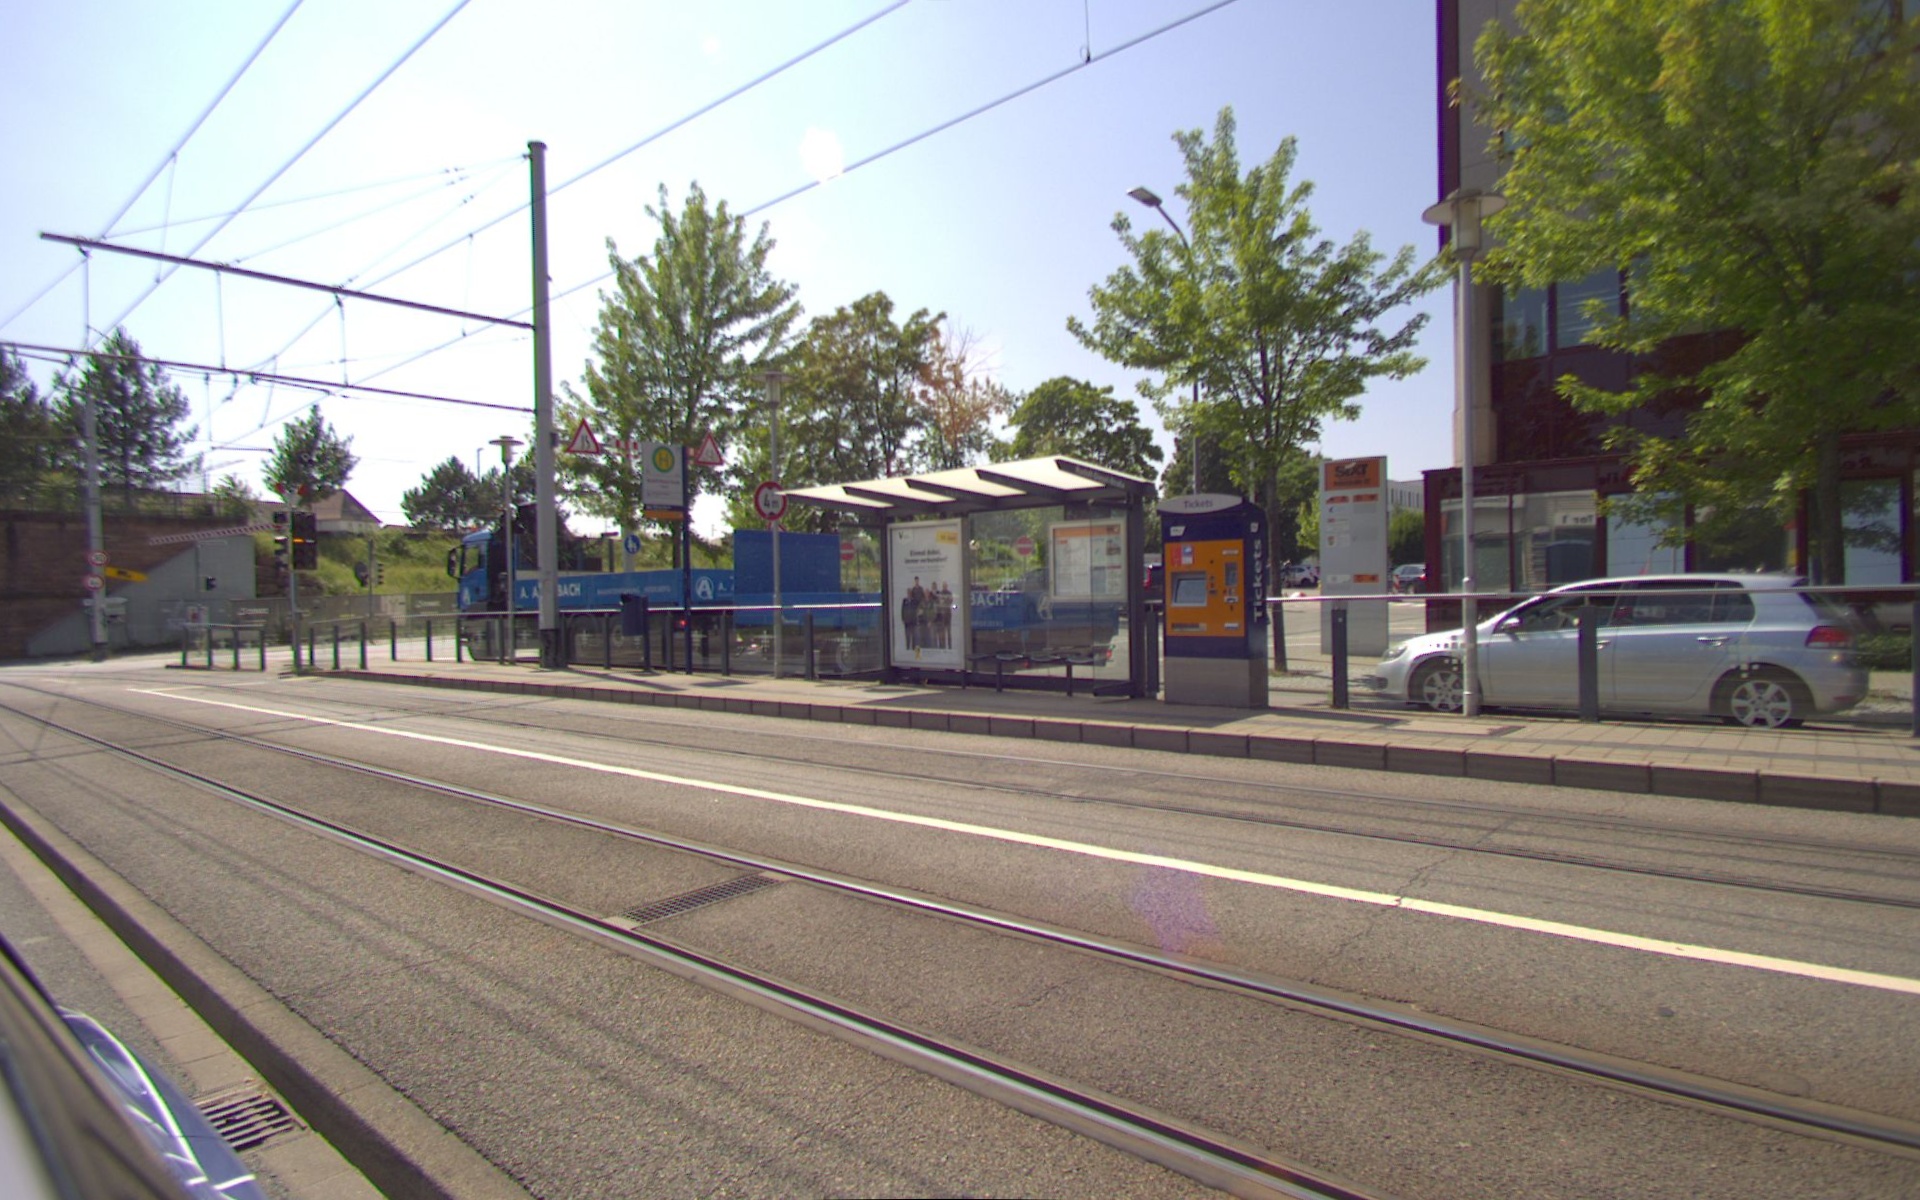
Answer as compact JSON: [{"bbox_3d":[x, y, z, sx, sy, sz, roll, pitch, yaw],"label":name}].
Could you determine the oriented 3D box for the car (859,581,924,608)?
[{"bbox_3d":[-4.553,-0.423,67.630,1.848,1.628,4.311,2,3,41],"label":"car"}]

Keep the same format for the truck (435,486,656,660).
[{"bbox_3d":[-9.831,-0.540,23.868,5.035,3.636,2.716,-2,0,40],"label":"truck"}]

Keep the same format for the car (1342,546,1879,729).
[{"bbox_3d":[6.325,0.345,10.238,4.276,1.483,1.705,-2,-1,40],"label":"car"}]

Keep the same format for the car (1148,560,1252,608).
[{"bbox_3d":[8.166,-0.570,34.872,1.888,1.504,4.877,-2,2,-6],"label":"car"}]

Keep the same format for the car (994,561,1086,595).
[{"bbox_3d":[3.804,-1.044,48.040,3.961,1.348,1.707,-3,0,21],"label":"car"}]

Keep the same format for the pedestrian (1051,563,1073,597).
[{"bbox_3d":[4.634,-0.906,46.024,0.744,1.538,0.566,-2,1,-18],"label":"pedestrian"}]

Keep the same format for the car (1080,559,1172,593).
[{"bbox_3d":[8.953,-1.288,54.814,4.761,1.504,1.848,-3,0,9],"label":"car"}]

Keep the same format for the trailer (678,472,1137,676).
[{"bbox_3d":[-1.163,-0.275,16.646,7.593,2.648,2.769,-2,0,39],"label":"trailer"}]

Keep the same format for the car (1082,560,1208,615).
[{"bbox_3d":[5.791,-0.470,32.516,2.151,1.606,5.129,0,2,-12],"label":"car"}]

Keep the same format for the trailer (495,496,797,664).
[{"bbox_3d":[-6.784,-0.304,21.302,6.892,3.000,2.716,-2,0,40],"label":"trailer"}]

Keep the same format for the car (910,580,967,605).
[{"bbox_3d":[-1.457,-0.549,70.620,1.848,1.628,3.946,1,3,41],"label":"car"}]

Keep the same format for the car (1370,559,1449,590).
[{"bbox_3d":[22.754,-1.279,51.431,1.696,1.462,4.246,-2,1,-6],"label":"car"}]

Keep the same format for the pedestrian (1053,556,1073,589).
[{"bbox_3d":[5.019,-1.340,49.199,0.743,1.538,0.566,-2,1,-27],"label":"pedestrian"}]
